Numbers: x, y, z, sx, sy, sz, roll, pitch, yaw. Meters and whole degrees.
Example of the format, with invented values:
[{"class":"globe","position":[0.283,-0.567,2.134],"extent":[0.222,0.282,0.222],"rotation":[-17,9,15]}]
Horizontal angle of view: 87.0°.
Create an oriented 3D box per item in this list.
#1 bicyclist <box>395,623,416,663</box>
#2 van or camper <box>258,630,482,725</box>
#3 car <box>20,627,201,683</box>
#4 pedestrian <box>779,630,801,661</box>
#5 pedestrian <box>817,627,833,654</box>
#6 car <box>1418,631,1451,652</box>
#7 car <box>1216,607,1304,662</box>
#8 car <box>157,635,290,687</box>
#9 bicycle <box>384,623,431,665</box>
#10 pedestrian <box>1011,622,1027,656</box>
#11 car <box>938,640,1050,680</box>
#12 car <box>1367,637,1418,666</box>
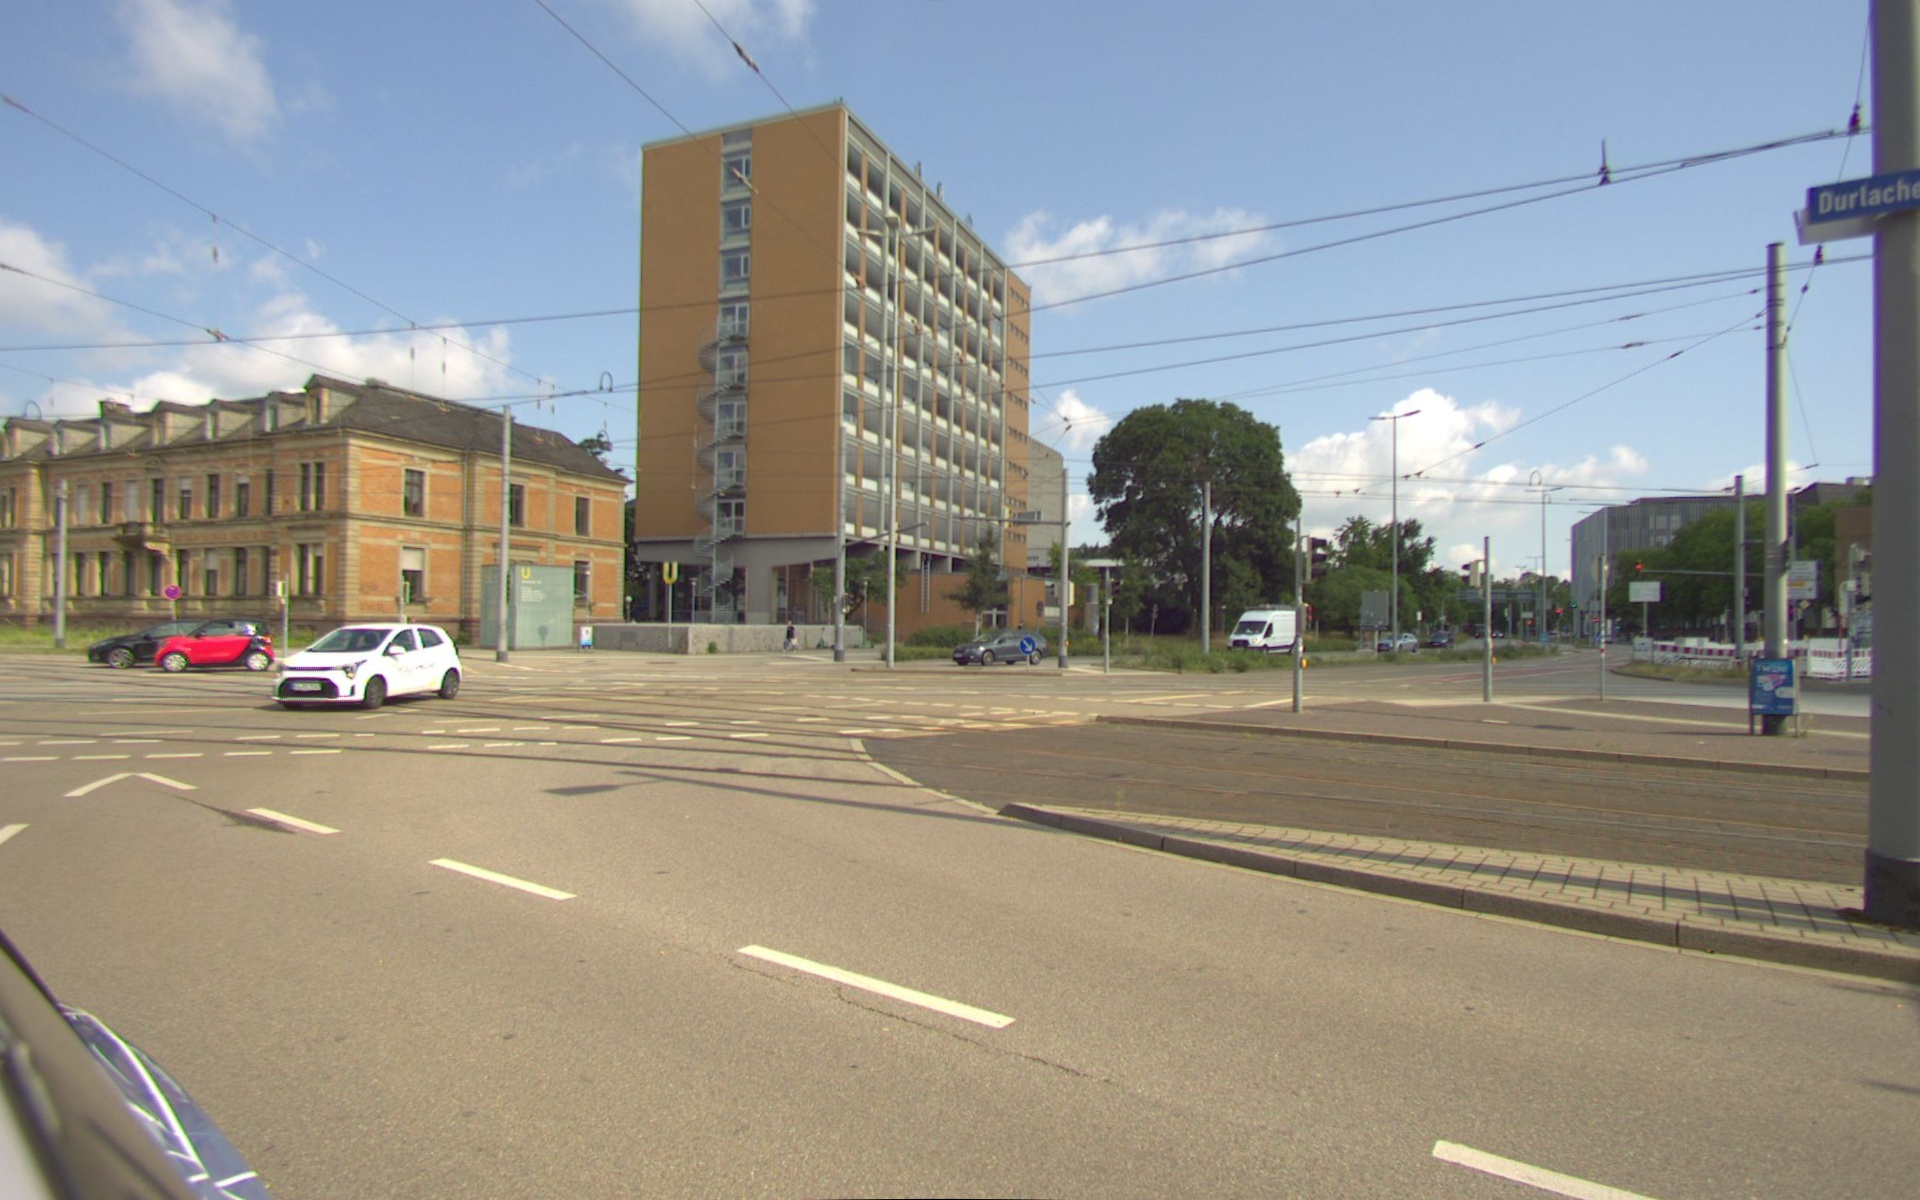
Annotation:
[{"class":"bicyclist","position":[-23.971,1.855,43.731],"extent":[0.645,1.683,0.576],"rotation":[1,-2,-17]},{"class":"van or camper","position":[-10.757,1.353,18.813],"extent":[1.608,1.487,3.993],"rotation":[-1,-1,5]},{"class":"car","position":[-25.285,1.592,30.319],"extent":[3.932,1.465,1.719],"rotation":[0,0,-31]},{"class":"pedestrian","position":[-8.875,2.372,52.813],"extent":[0.773,1.600,0.754],"rotation":[1,-2,44]},{"class":"pedestrian","position":[-8.175,2.447,61.399],"extent":[0.924,1.600,0.766],"rotation":[1,-2,-7]},{"class":"car","position":[43.743,3.796,93.287],"extent":[1.869,1.604,3.617],"rotation":[2,2,40]},{"class":"car","position":[16.715,1.912,56.166],"extent":[2.484,2.901,6.067],"rotation":[-1,-2,40]},{"class":"car","position":[-20.780,1.687,28.611],"extent":[2.961,1.223,1.613],"rotation":[-1,1,-37]},{"class":"bicycle","position":[-23.899,1.898,43.788],"extent":[1.609,1.791,0.734],"rotation":[1,-2,-17]},{"class":"pedestrian","position":[3.598,2.383,61.935],"extent":[0.795,2.028,0.726],"rotation":[2,5,-6]},{"class":"car","position":[1.455,2.444,41.996],"extent":[4.475,1.290,2.003],"rotation":[0,2,-42]},{"class":"car","position":[32.113,3.799,75.082],"extent":[4.079,1.785,2.002],"rotation":[-1,2,-45]}]
